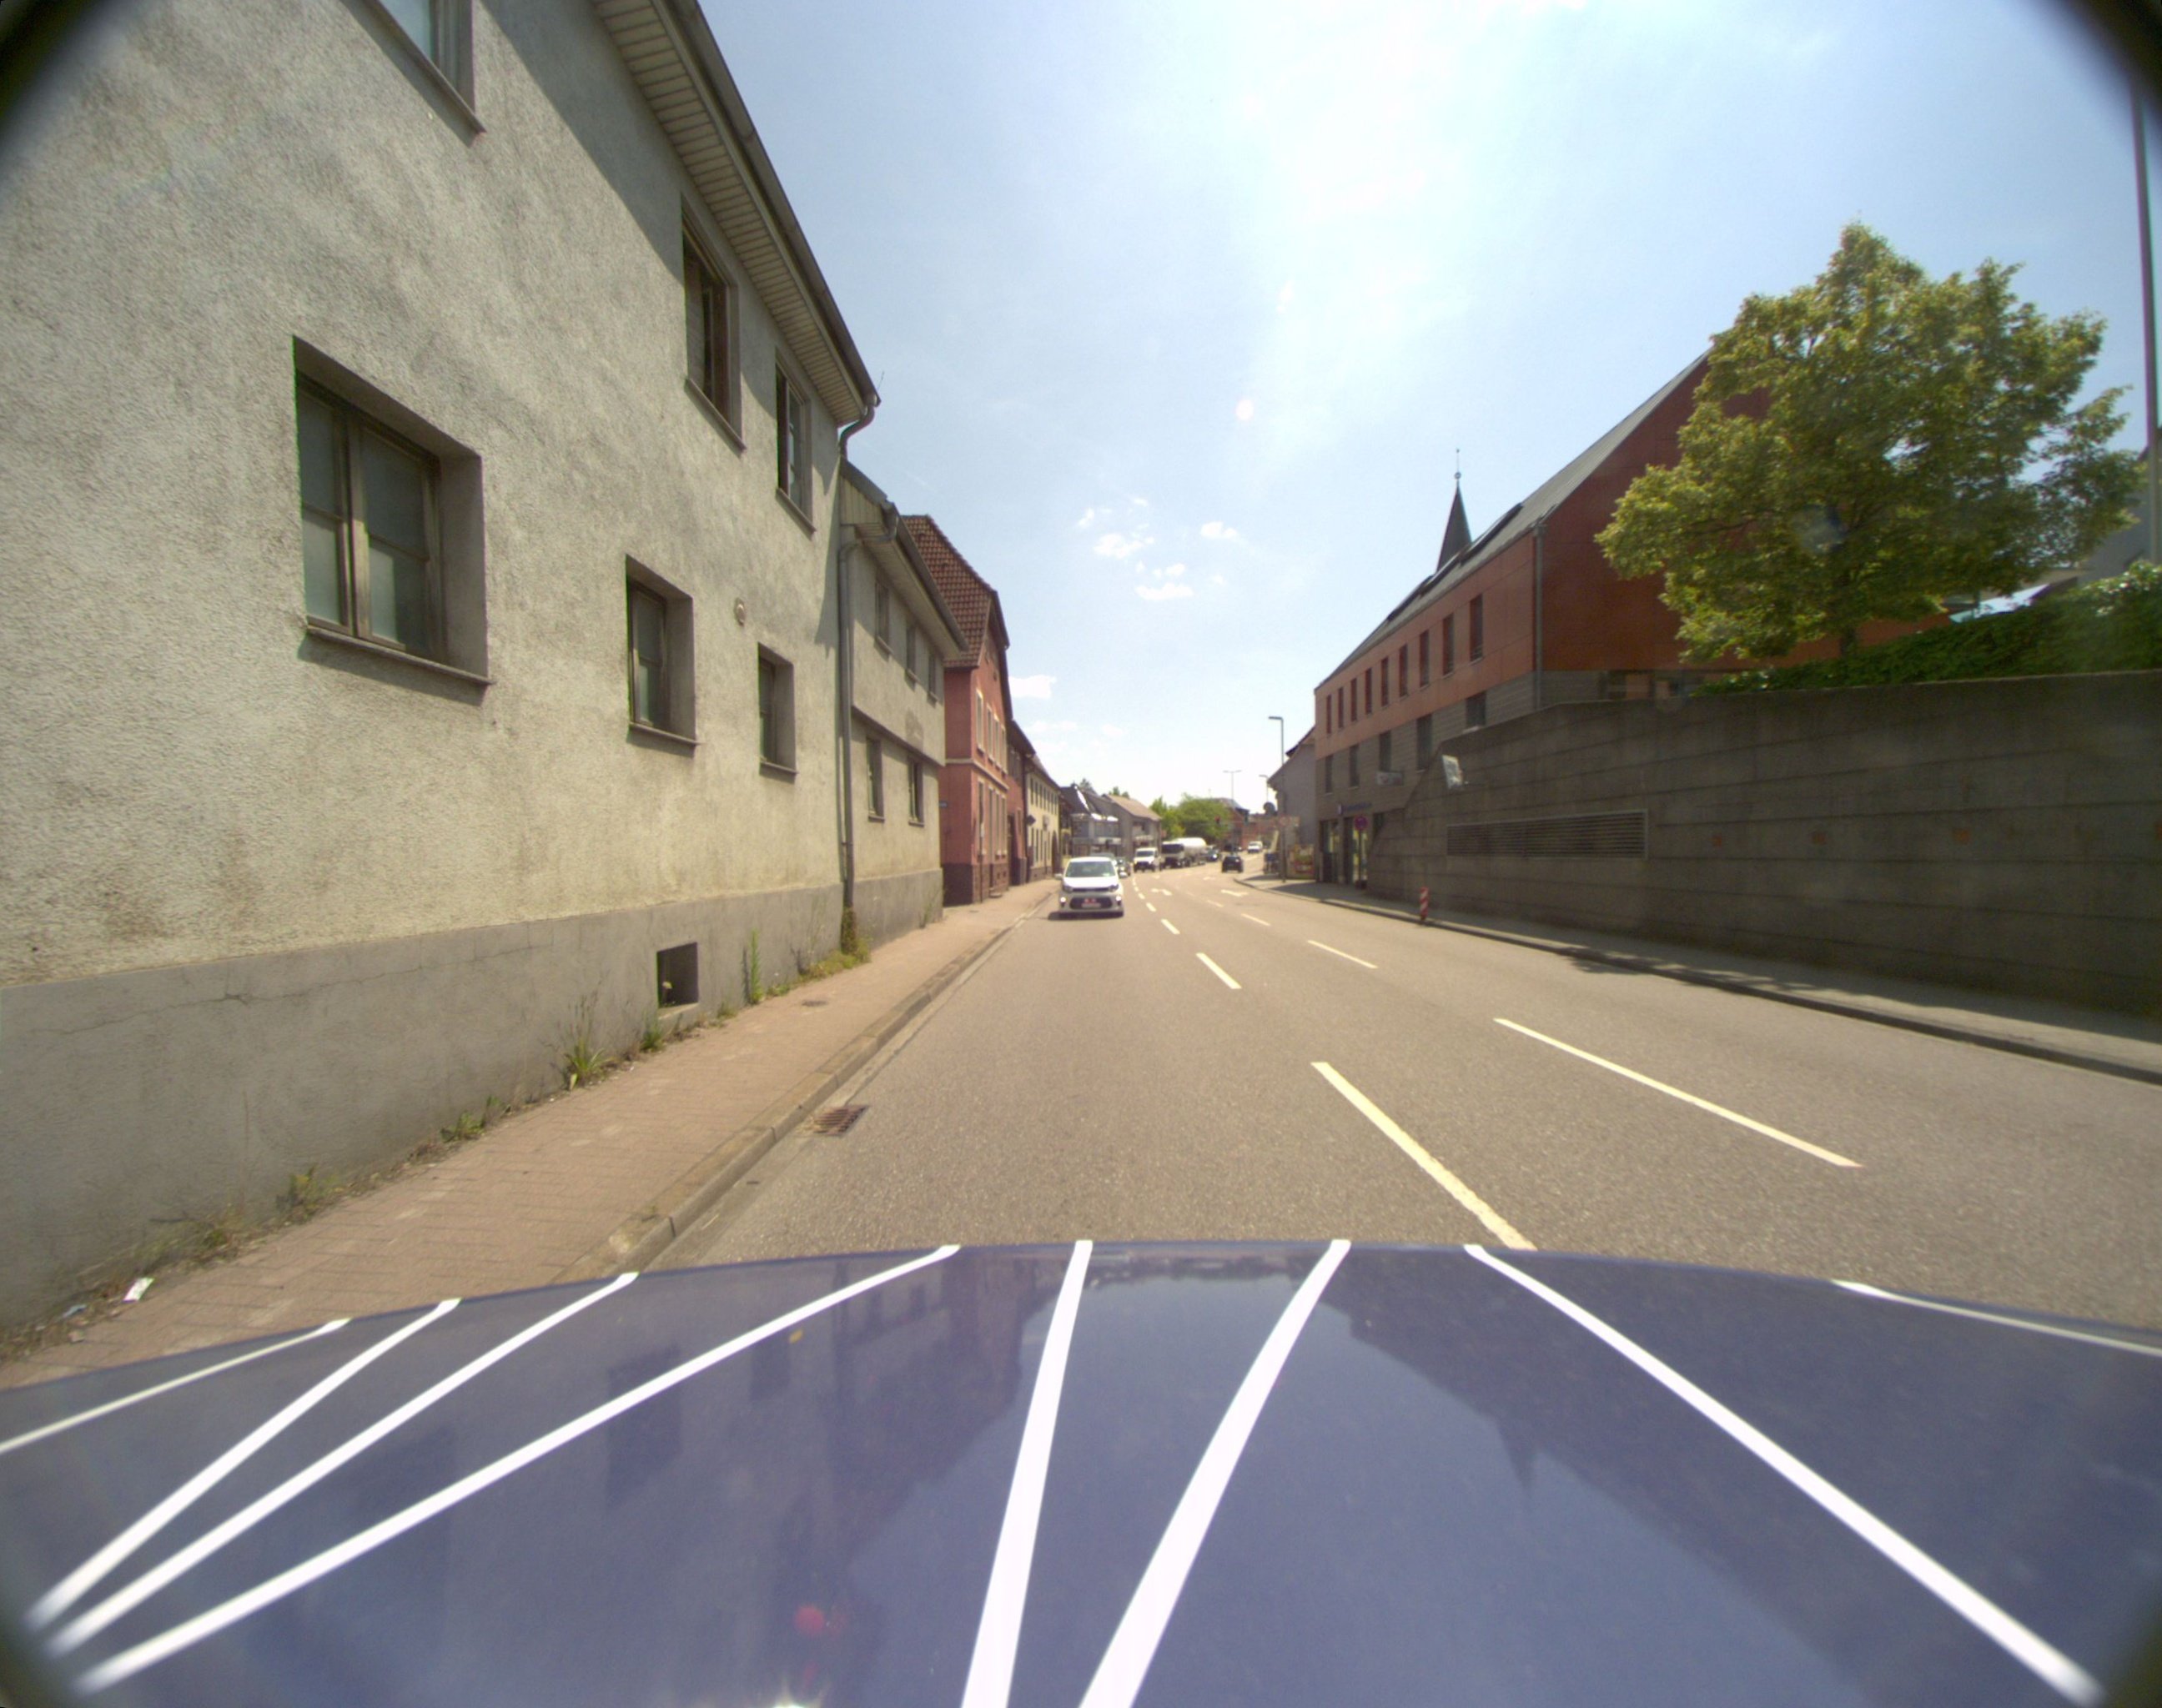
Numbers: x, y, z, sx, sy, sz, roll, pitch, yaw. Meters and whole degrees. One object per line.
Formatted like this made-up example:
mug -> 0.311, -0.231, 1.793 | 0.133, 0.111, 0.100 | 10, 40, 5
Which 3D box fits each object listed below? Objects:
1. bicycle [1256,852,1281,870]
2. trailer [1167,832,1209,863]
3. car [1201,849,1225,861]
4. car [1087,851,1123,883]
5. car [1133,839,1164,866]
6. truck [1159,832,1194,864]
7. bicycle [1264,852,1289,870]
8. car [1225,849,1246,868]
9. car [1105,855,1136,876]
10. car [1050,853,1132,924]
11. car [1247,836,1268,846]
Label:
bicycle -> 13.646, 0.501, 55.250 | 1.834, 1.241, 0.577 | -3, -1, -34
trailer -> 13.334, -0.796, 93.758 | 2.833, 3.549, 10.981 | 0, 0, 21
car -> 18.312, 0.180, 105.115 | 2.008, 1.621, 4.585 | 0, 1, 26
car -> 1.289, 0.628, 40.070 | 1.724, 1.541, 4.303 | -2, 0, 2
car -> 6.637, -0.158, 73.905 | 2.172, 2.549, 4.829 | 0, 1, 15
truck -> 11.011, -0.692, 87.362 | 2.844, 3.549, 5.476 | 0, 1, 19
bicycle -> 14.065, 0.493, 54.751 | 1.834, 1.241, 0.577 | -3, -1, -34
car -> 14.345, 0.402, 70.402 | 1.672, 1.648, 4.022 | 0, 0, 15
car -> 2.887, 0.797, 55.013 | 1.928, 1.358, 4.305 | -2, 0, 6
car -> 0.360, 0.793, 19.525 | 1.724, 1.541, 4.304 | -2, 0, 5
car -> 29.996, -2.144, 128.933 | 2.007, 1.621, 4.587 | 0, 1, 35
